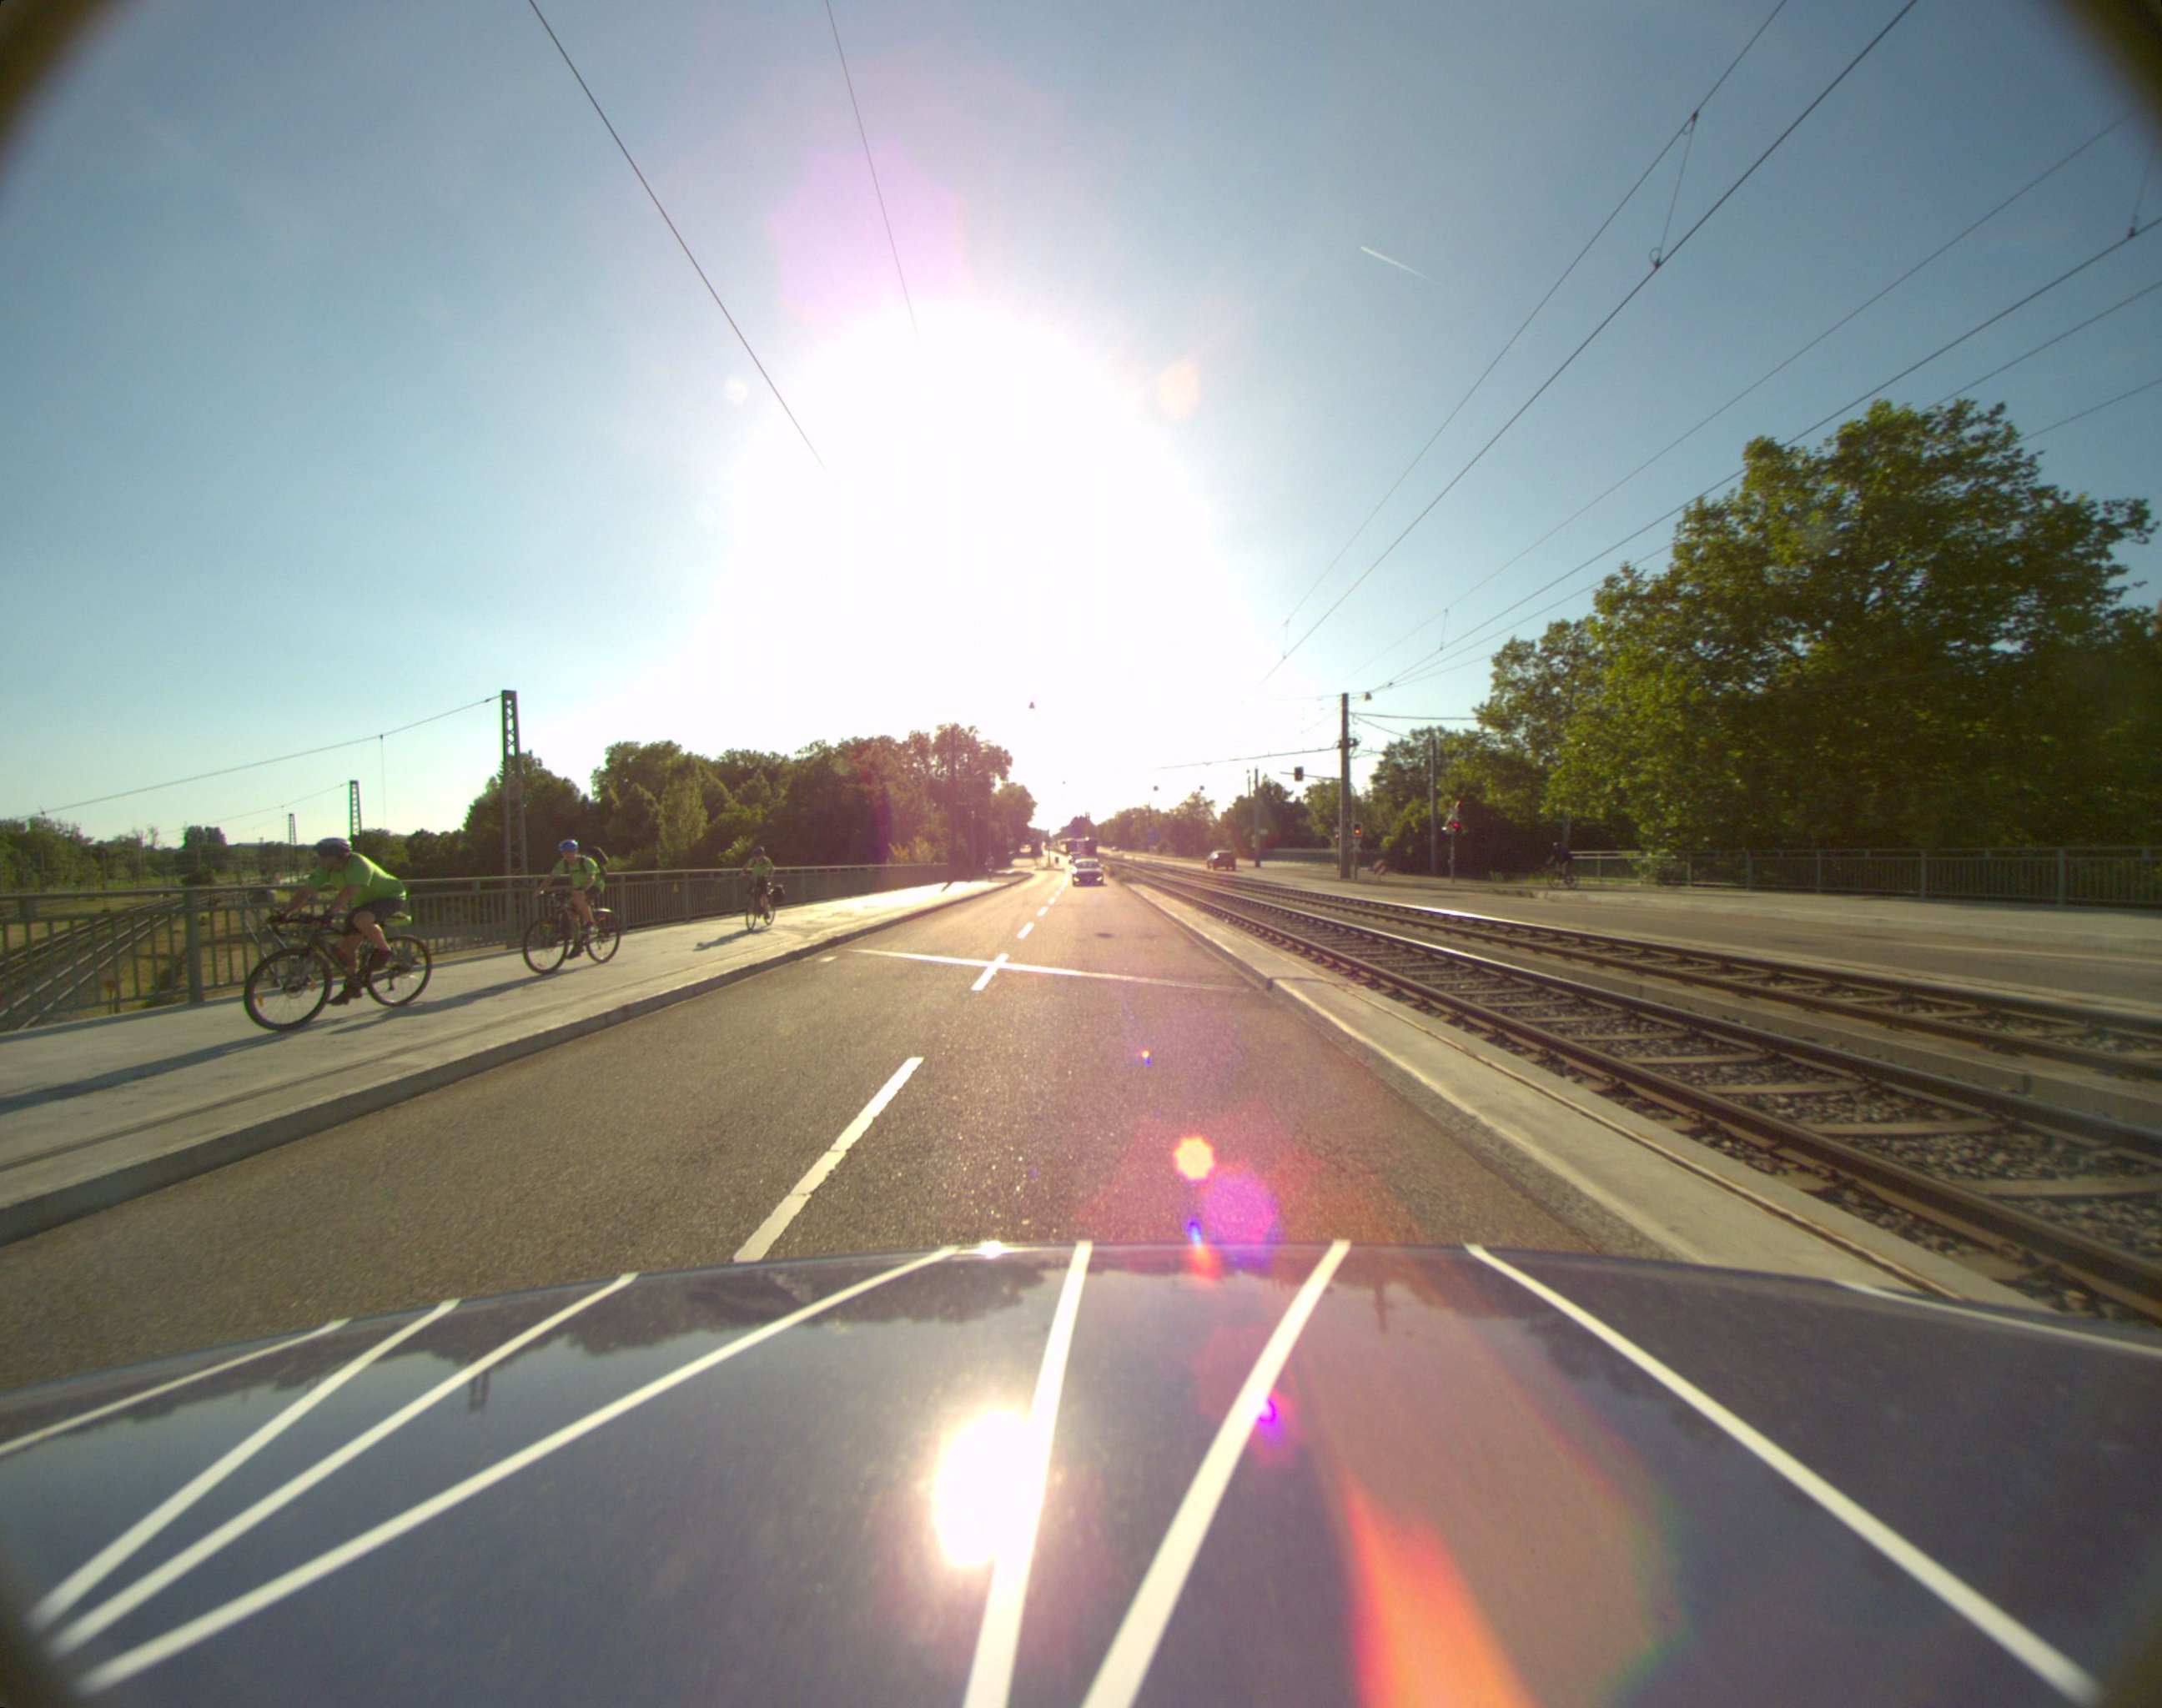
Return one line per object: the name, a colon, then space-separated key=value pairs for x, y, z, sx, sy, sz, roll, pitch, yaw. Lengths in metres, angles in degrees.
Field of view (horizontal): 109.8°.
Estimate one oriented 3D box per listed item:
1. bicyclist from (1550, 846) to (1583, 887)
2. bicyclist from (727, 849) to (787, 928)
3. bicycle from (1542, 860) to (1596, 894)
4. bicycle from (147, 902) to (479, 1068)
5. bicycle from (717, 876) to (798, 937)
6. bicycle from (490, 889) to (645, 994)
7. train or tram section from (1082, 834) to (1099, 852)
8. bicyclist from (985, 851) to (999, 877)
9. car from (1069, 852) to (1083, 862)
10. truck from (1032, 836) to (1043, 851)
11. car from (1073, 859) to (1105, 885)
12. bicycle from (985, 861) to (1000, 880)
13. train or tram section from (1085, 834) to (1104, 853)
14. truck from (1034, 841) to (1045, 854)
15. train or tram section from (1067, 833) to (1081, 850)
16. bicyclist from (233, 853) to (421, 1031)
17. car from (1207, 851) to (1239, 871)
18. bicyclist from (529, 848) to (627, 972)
bicyclist: x=17.628 y=0.433 z=27.599 sx=0.626 sy=1.424 sz=0.969 roll=-2 pitch=1 yaw=4
bicyclist: x=-6.637 y=0.694 z=15.613 sx=0.814 sy=1.553 sz=0.896 roll=-2 pitch=0 yaw=0
bicycle: x=17.635 y=0.813 z=27.531 sx=0.626 sy=1.116 sz=2.260 roll=-2 pitch=1 yaw=4
bicycle: x=-6.843 y=1.090 z=7.012 sx=0.626 sy=1.116 sz=2.260 roll=-2 pitch=1 yaw=4
bicycle: x=-6.636 y=1.039 z=15.741 sx=0.685 sy=1.116 sz=2.216 roll=-2 pitch=0 yaw=0
bicycle: x=-6.725 y=1.093 z=10.111 sx=0.626 sy=1.116 sz=2.041 roll=-2 pitch=1 yaw=0
train or tram section: x=2.162 y=-2.459 z=174.407 sx=2.985 sy=3.878 sz=11.659 roll=-1 pitch=1 yaw=-3
bicyclist: x=-6.000 y=0.651 z=51.431 sx=0.733 sy=1.680 sz=1.202 roll=-4 pitch=1 yaw=-3
car: x=-0.599 y=0.379 z=98.192 sx=1.801 sy=1.345 sz=3.999 roll=-1 pitch=1 yaw=0
truck: x=-11.678 y=-2.861 z=203.962 sx=2.560 sy=3.826 sz=7.866 roll=-1 pitch=1 yaw=-3
car: x=0.440 y=1.017 z=44.362 sx=1.801 sy=1.345 sz=3.999 roll=-1 pitch=1 yaw=0
bicycle: x=-5.955 y=1.105 z=51.416 sx=0.733 sy=1.116 sz=2.741 roll=-4 pitch=1 yaw=-3
train or tram section: x=2.825 y=-2.264 z=163.235 sx=2.986 sy=3.878 sz=12.695 roll=-1 pitch=1 yaw=-3
truck: x=-10.173 y=-1.595 z=187.441 sx=2.611 sy=3.186 sz=7.866 roll=-1 pitch=1 yaw=-3
train or tram section: x=-1.784 y=-2.873 z=179.988 sx=2.570 sy=3.878 sz=11.665 roll=-1 pitch=1 yaw=-4
bicyclist: x=-6.850 y=0.748 z=6.963 sx=0.626 sy=1.499 sz=1.006 roll=-2 pitch=1 yaw=4
car: x=11.538 y=0.532 z=61.832 sx=1.853 sy=1.493 sz=4.218 roll=-2 pitch=1 yaw=1
bicyclist: x=-6.771 y=0.723 z=10.270 sx=0.626 sy=1.583 sz=0.930 roll=-2 pitch=1 yaw=0
